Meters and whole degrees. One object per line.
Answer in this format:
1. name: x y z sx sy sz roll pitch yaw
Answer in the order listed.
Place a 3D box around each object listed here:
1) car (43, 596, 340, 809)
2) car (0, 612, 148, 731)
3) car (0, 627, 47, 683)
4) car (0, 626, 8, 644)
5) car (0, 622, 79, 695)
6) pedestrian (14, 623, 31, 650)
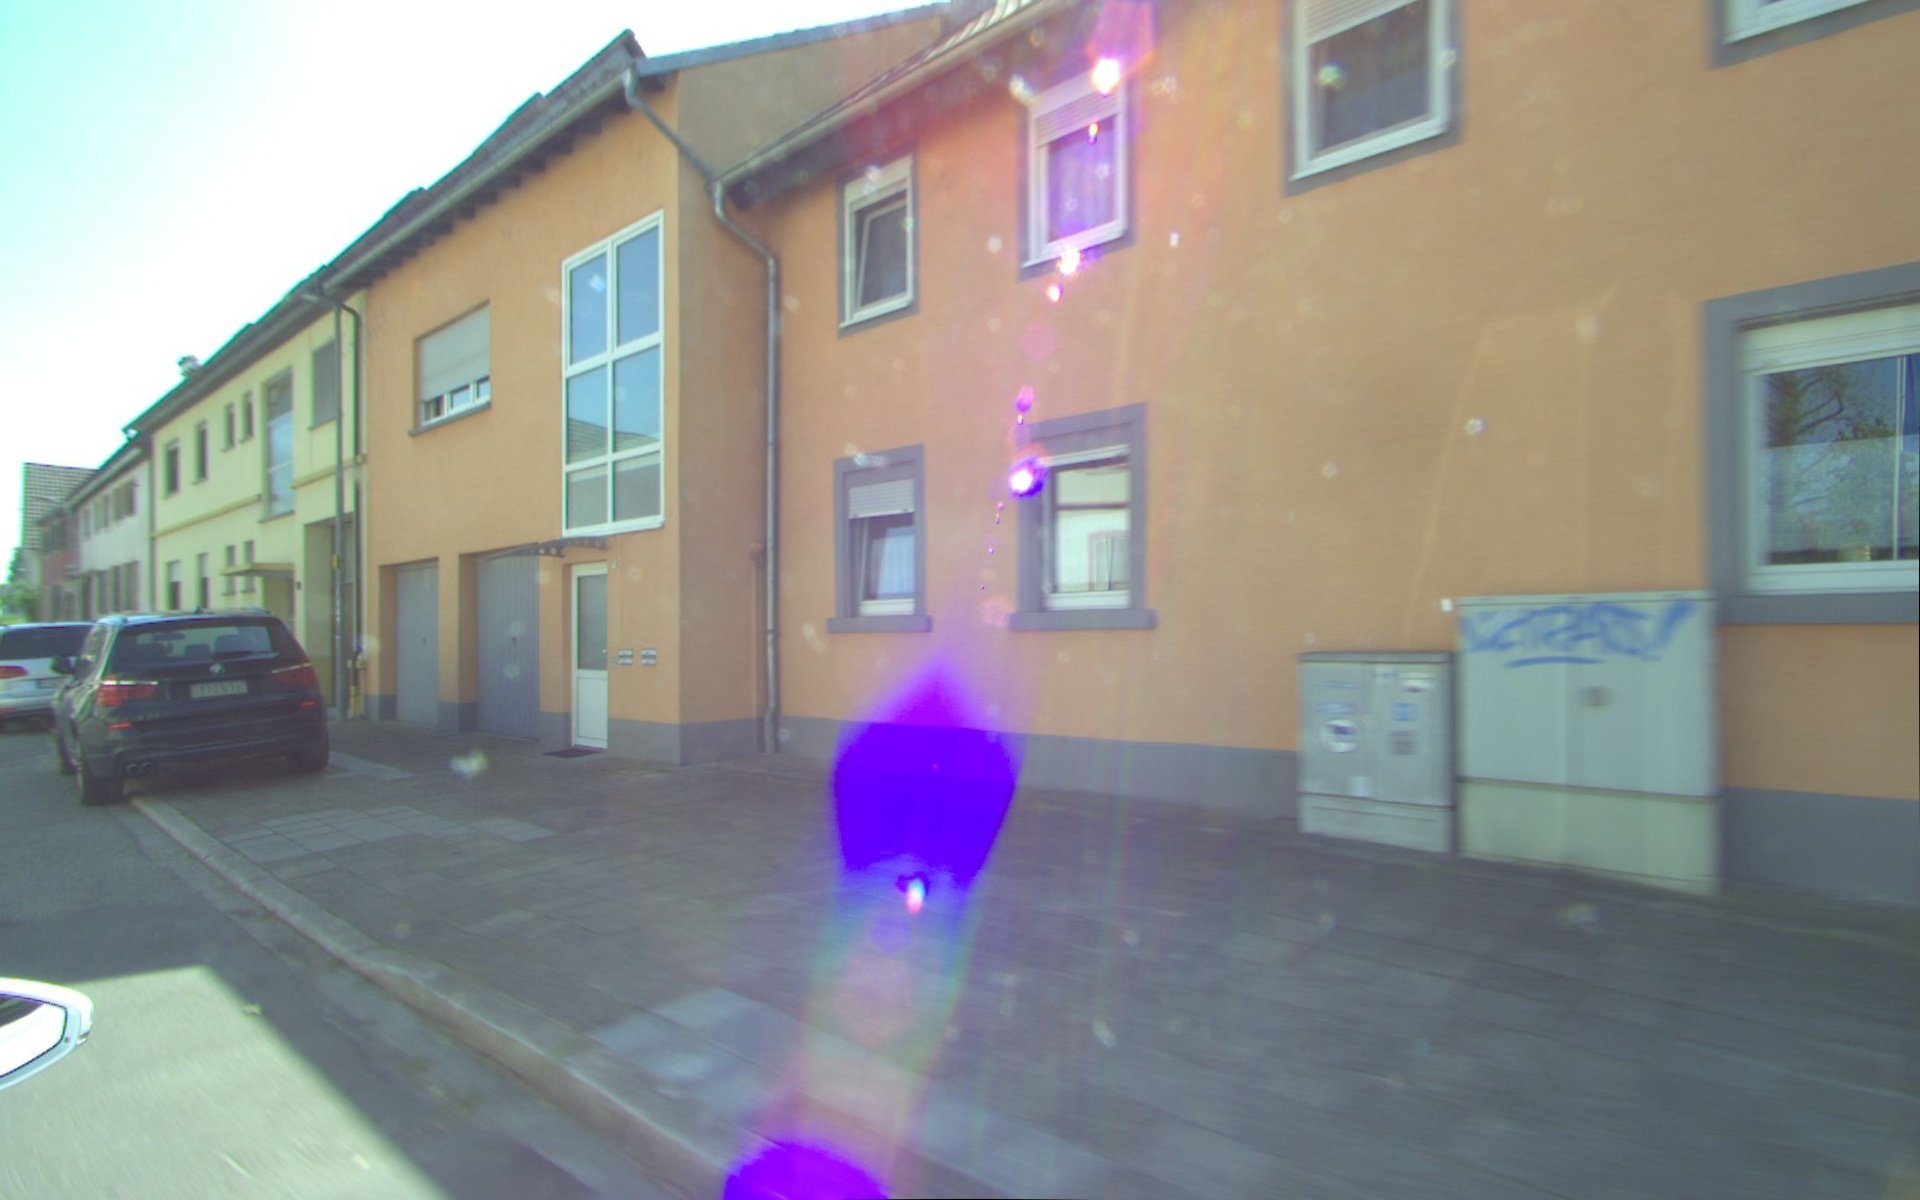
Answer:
1. car: -8.286 0.899 10.579 5.128 1.724 1.833 -2 -2 45
2. car: -15.103 1.125 16.736 4.205 1.750 1.888 -2 -3 44
3. car: -27.468 1.553 28.583 4.362 1.488 1.690 -2 -1 42
4. car: -136.007 4.975 141.484 2.005 2.600 3.960 1 -2 -45
5. car: -22.548 1.359 24.060 3.984 1.604 1.690 -2 -1 43
6. pedestrian: -58.586 2.263 62.573 0.713 1.685 0.885 1 -2 -41
